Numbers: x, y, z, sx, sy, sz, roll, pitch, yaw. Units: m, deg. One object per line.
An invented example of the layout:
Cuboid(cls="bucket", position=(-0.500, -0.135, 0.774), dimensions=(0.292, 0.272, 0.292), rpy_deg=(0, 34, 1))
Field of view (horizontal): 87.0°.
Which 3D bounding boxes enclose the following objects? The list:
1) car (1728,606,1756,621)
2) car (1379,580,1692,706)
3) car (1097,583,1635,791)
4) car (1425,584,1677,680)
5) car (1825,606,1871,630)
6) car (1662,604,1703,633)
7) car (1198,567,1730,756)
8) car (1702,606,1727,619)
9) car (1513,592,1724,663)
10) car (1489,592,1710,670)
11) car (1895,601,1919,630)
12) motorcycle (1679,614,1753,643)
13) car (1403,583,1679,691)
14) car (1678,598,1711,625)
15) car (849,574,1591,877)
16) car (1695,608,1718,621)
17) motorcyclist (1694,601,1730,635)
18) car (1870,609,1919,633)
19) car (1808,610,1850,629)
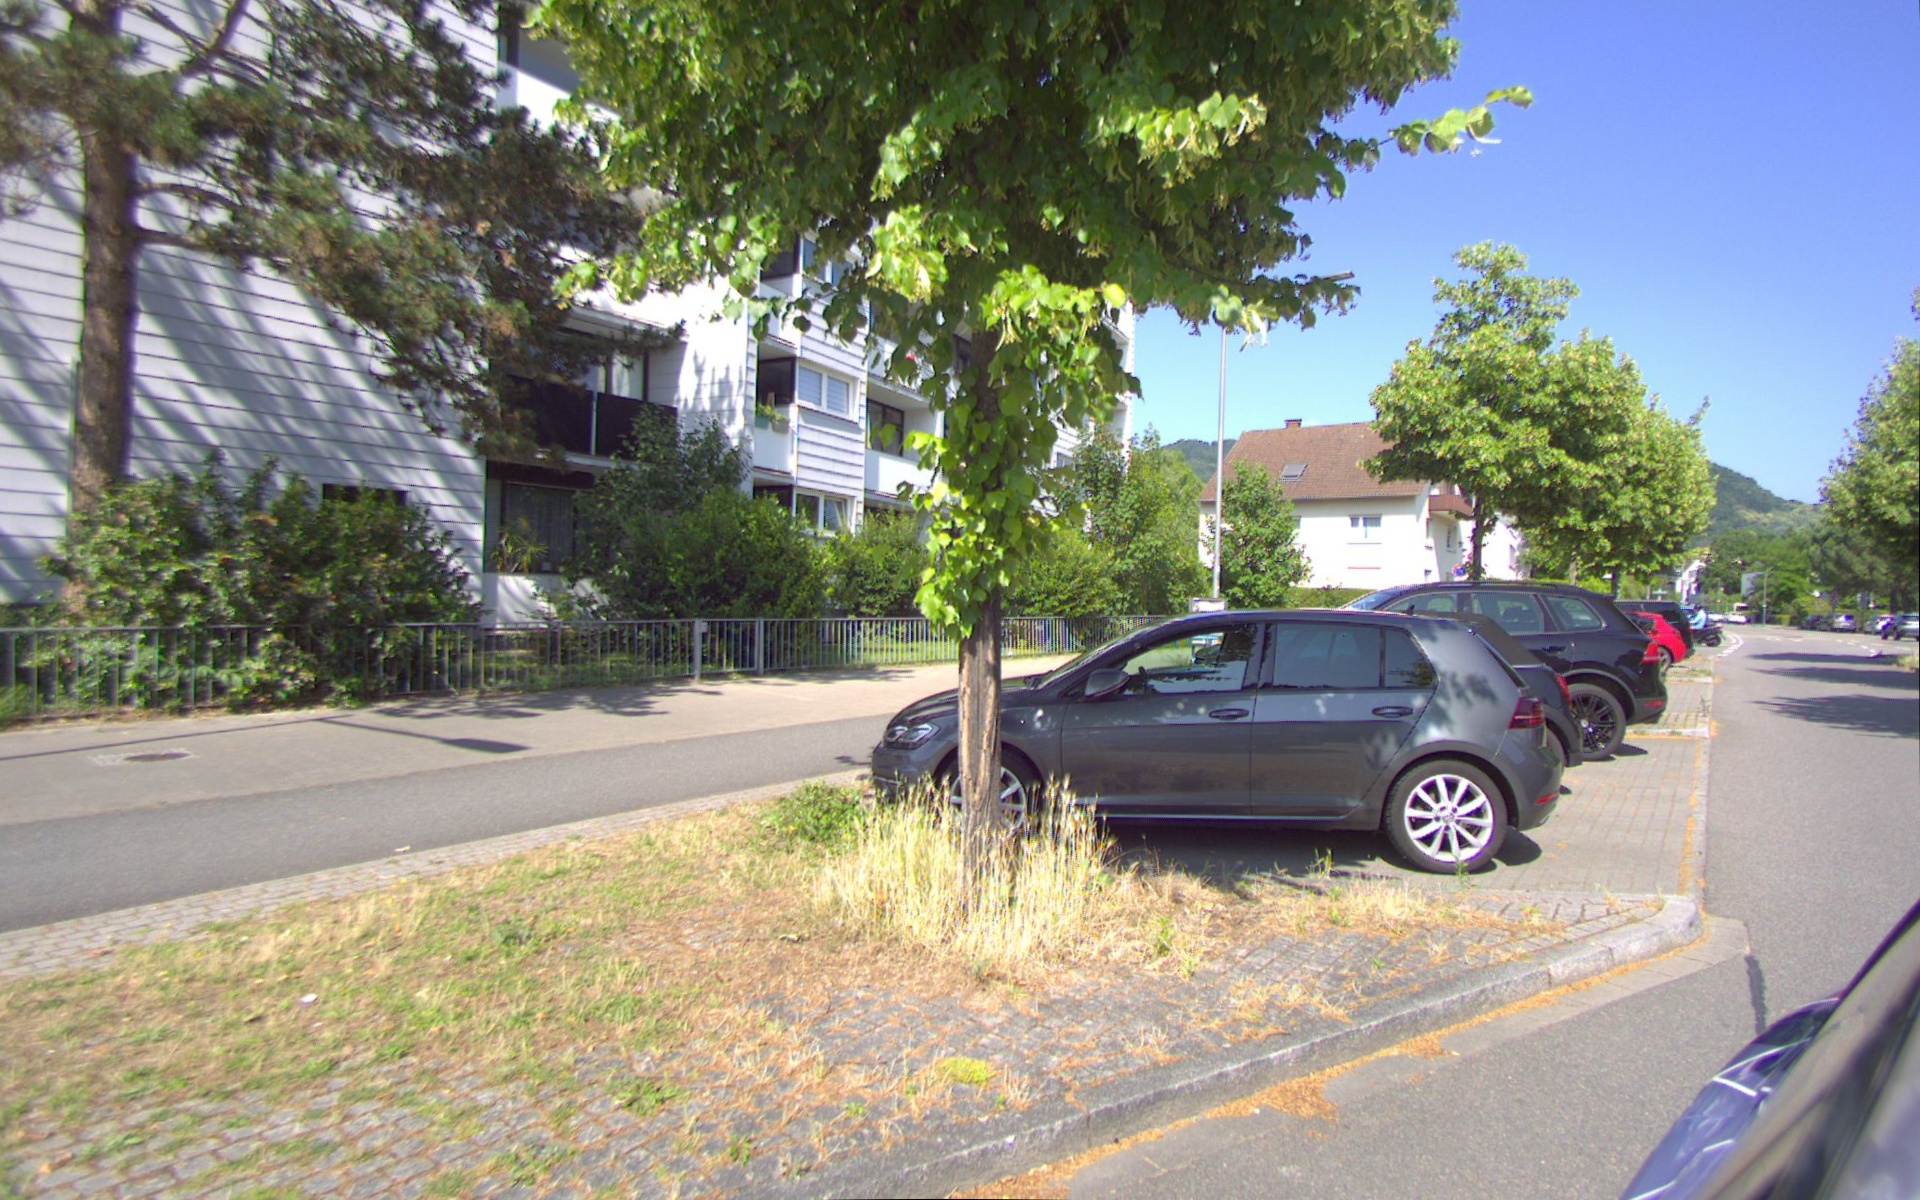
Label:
Cuboid(cls="car", position=(92.120, 1.574, 119.262), dimensions=(1.943, 1.571, 3.959), rpy_deg=(1, 1, 29))
Cuboid(cls="car", position=(8.642, 0.577, 15.569), dimensions=(3.961, 1.660, 1.737), rpy_deg=(2, 0, 27))
Cuboid(cls="car", position=(3.209, 0.647, 8.727), dimensions=(3.930, 1.492, 1.766), rpy_deg=(1, 0, 6))
Cuboid(cls="car", position=(11.439, 0.564, 19.911), dimensions=(3.949, 1.660, 1.789), rpy_deg=(2, 0, 20))
Cuboid(cls="car", position=(73.786, 1.484, 84.178), dimensions=(1.830, 1.786, 4.539), rpy_deg=(3, 1, 28))
Cuboid(cls="car", position=(36.572, 0.910, 51.198), dimensions=(1.613, 1.407, 3.947), rpy_deg=(1, 0, 37))
Cuboid(cls="car", position=(5.016, 0.558, 10.707), dimensions=(4.667, 1.681, 1.749), rpy_deg=(1, 0, 8))
Cuboid(cls="car", position=(97.472, 1.615, 130.753), dimensions=(1.983, 1.638, 3.959), rpy_deg=(2, 1, 29))
Cuboid(cls="car", position=(16.963, 0.677, 26.277), dimensions=(4.047, 1.660, 2.042), rpy_deg=(1, 0, 5))
Cuboid(cls="car", position=(14.872, 0.693, 23.700), dimensions=(3.924, 1.660, 1.881), rpy_deg=(1, 1, 0))
Cuboid(cls="car", position=(54.393, 0.909, 57.067), dimensions=(1.735, 1.566, 4.024), rpy_deg=(3, 2, 33))
Cuboid(cls="motorcycle", position=(28.633, 1.055, 38.378), dimensions=(2.222, 1.005, 0.914), rpy_deg=(2, 0, 38))
Cuboid(cls="car", position=(10.094, 0.603, 17.933), dimensions=(3.950, 1.661, 1.741), rpy_deg=(2, 0, 20))
Cuboid(cls="car", position=(52.000, 0.800, 71.664), dimensions=(1.756, 1.850, 4.541), rpy_deg=(-1, 0, 35))
Cuboid(cls="car", position=(1.485, 0.659, 6.693), dimensions=(4.048, 1.549, 1.996), rpy_deg=(1, 0, 8))
Cuboid(cls="car", position=(100.766, 1.946, 136.600), dimensions=(1.983, 1.705, 3.959), rpy_deg=(2, 1, 29))
Cuboid(cls="motorcyclist", position=(28.550, 0.683, 38.448), dimensions=(1.056, 1.236, 0.892), rpy_deg=(1, 0, 37))
Cuboid(cls="car", position=(68.697, 1.540, 74.448), dimensions=(1.711, 1.578, 3.957), rpy_deg=(3, 1, 30))
Cuboid(cls="car", position=(76.266, 1.697, 88.867), dimensions=(1.830, 1.475, 4.151), rpy_deg=(3, 1, 28))
